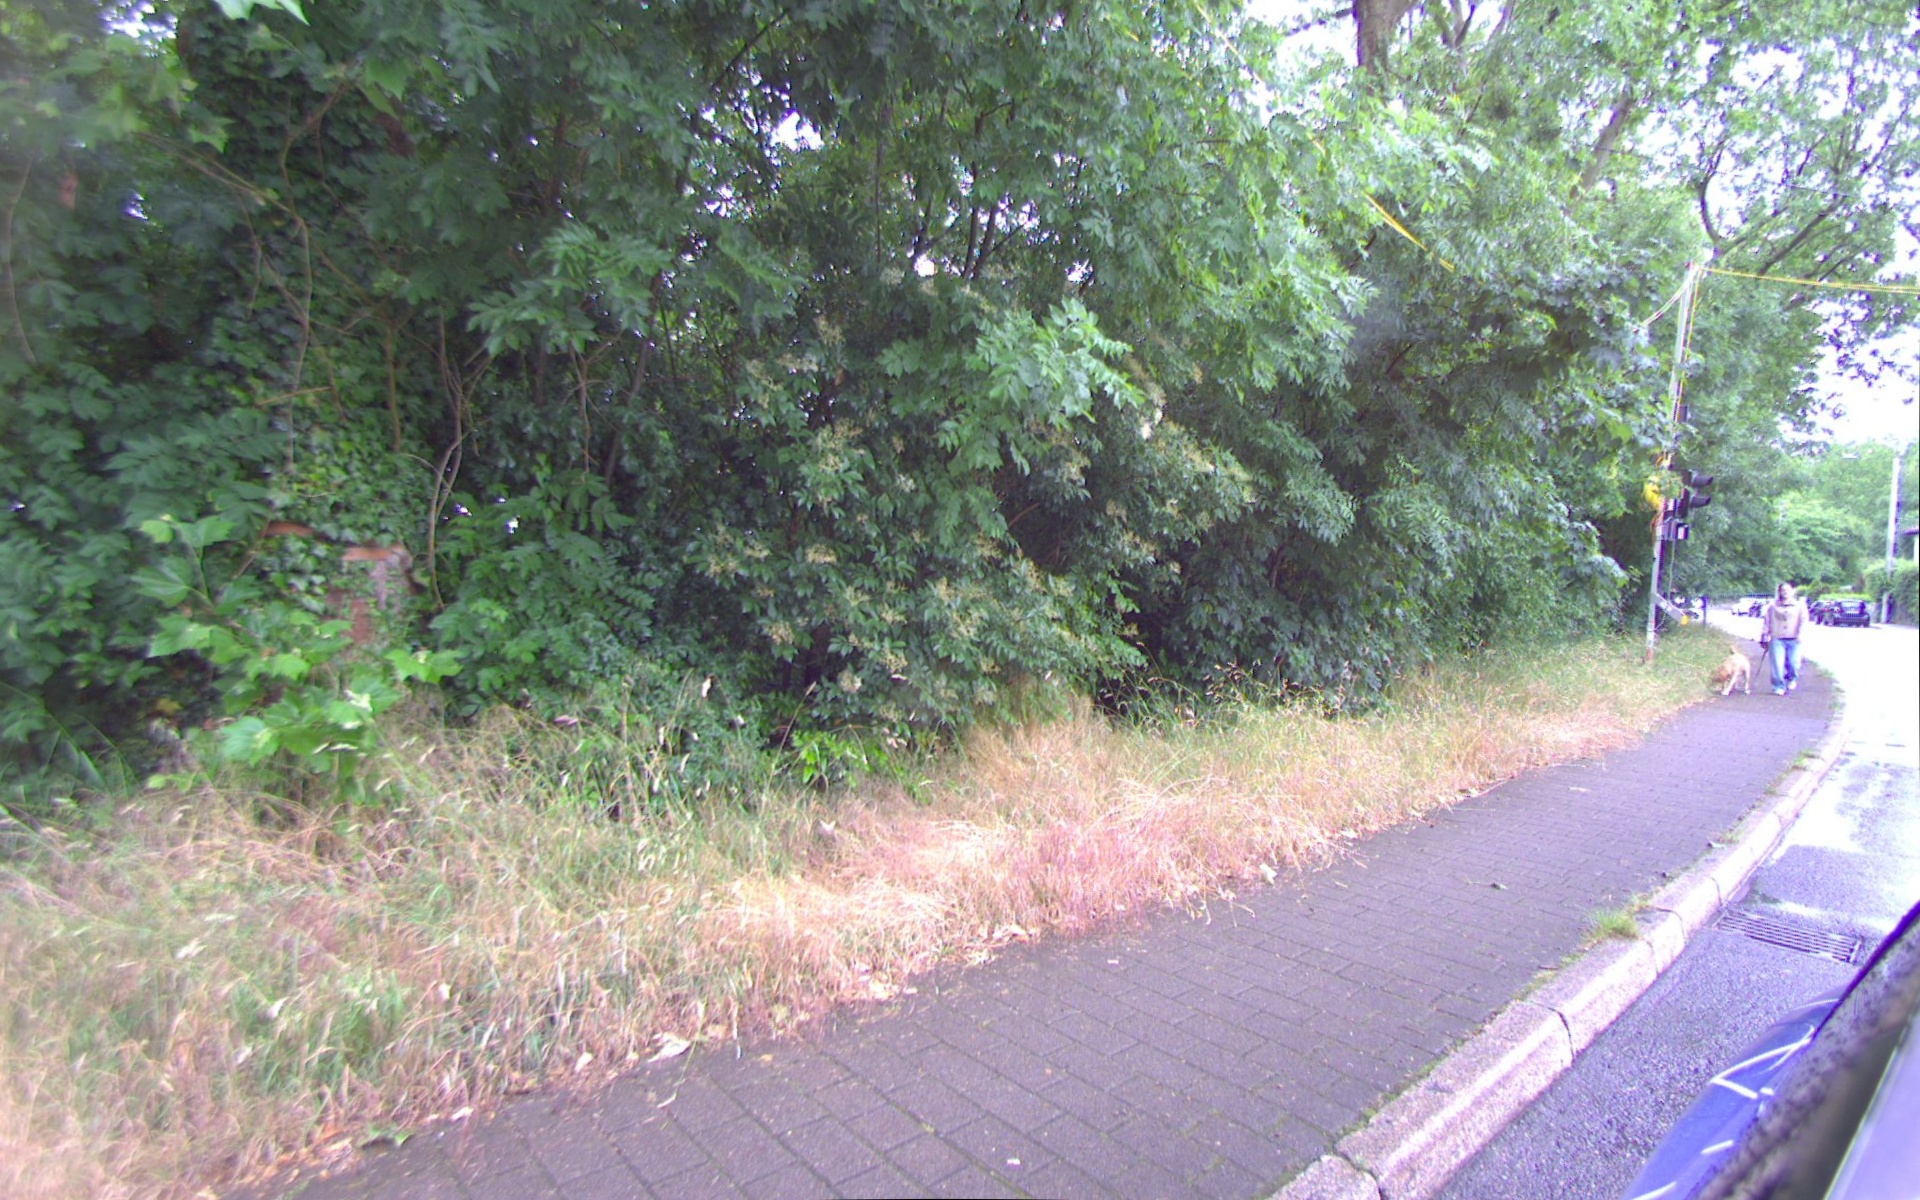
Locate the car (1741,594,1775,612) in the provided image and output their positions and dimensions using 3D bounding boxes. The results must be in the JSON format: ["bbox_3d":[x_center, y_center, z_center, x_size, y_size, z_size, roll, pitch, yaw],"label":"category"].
[{"bbox_3d":[64.939,0.211,82.372,1.676,1.445,3.734,1,1,31],"label":"car"}]

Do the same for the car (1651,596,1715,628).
[{"bbox_3d":[46.736,0.742,65.542,2.078,1.943,5.055,0,0,21],"label":"car"}]

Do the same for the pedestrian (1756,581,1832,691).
[{"bbox_3d":[11.965,0.490,14.524,0.771,1.518,0.734,0,0,-42],"label":"pedestrian"}]

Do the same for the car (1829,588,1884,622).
[{"bbox_3d":[51.059,0.276,57.706,1.869,1.848,4.075,1,1,35],"label":"car"}]

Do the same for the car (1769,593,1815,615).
[{"bbox_3d":[60.746,0.289,73.919,2.055,1.504,4.509,1,1,33],"label":"car"}]
